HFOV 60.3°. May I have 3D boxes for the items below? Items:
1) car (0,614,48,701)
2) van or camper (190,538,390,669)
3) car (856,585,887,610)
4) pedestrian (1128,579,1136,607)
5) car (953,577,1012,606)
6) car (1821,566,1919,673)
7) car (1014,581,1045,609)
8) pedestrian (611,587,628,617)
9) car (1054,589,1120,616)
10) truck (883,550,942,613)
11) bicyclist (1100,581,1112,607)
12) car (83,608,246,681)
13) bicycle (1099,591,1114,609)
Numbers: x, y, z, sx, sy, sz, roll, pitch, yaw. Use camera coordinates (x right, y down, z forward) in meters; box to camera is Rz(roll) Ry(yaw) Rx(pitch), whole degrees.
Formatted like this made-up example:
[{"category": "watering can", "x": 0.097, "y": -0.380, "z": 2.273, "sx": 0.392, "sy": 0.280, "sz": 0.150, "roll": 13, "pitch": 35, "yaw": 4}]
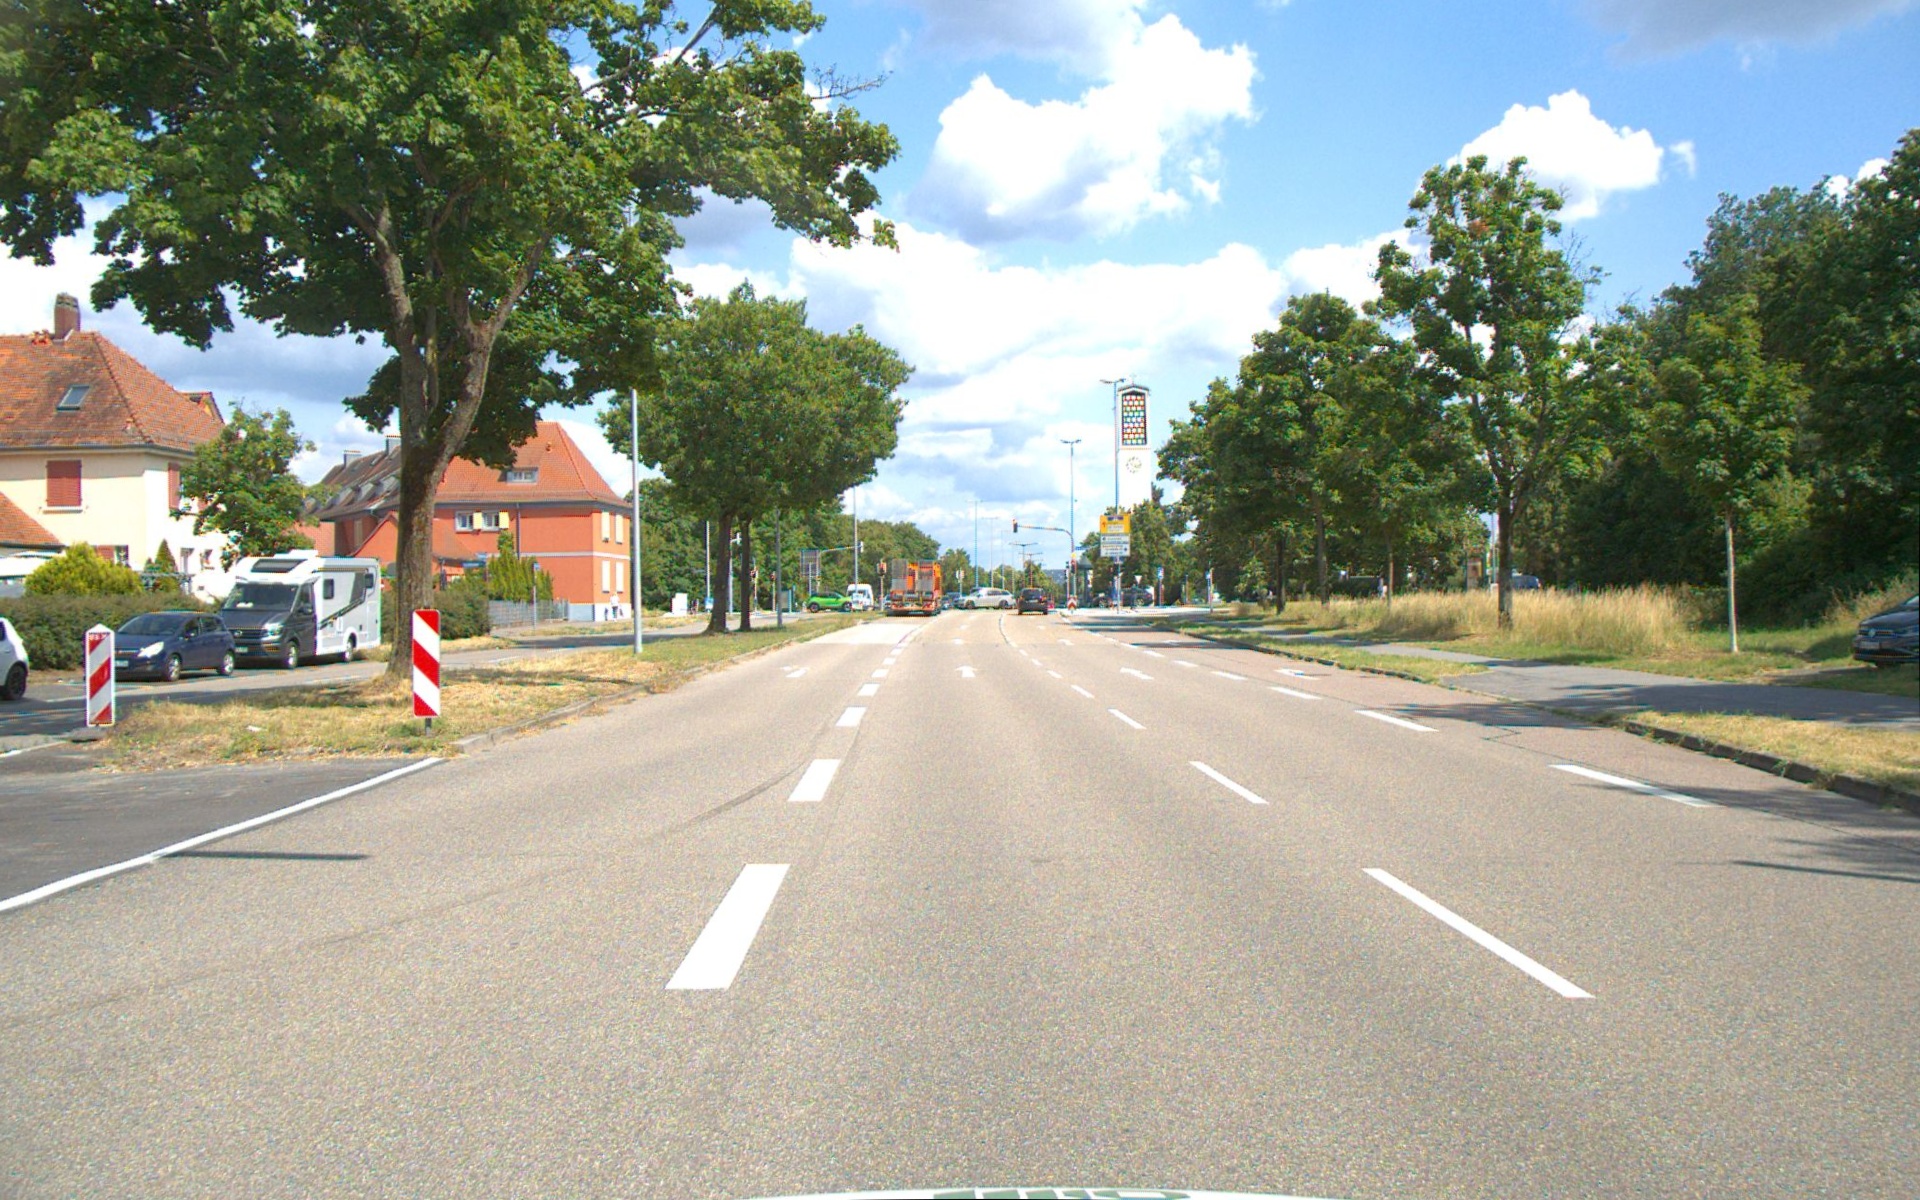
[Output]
[{"category": "car", "x": -17.827, "y": 1.005, "z": 28.680, "sx": 1.654, "sy": 1.511, "sz": 4.124, "roll": 1, "pitch": -1, "yaw": 1}, {"category": "van or camper", "x": -17.727, "y": 0.040, "z": 44.300, "sx": 2.212, "sy": 3.166, "sz": 7.321, "roll": 1, "pitch": 1, "yaw": 1}, {"category": "car", "x": -5.954, "y": -0.139, "z": 111.411, "sx": 1.697, "sy": 1.534, "sz": 4.653, "roll": -4, "pitch": -1, "yaw": 1}, {"category": "pedestrian", "x": 11.482, "y": -0.465, "z": 110.134, "sx": 0.454, "sy": 1.810, "sz": 0.482, "roll": 1, "pitch": -1, "yaw": 12}, {"category": "car", "x": 1.640, "y": -0.605, "z": 122.005, "sx": 3.929, "sy": 2.049, "sz": 1.988, "roll": 2, "pitch": -1, "yaw": -21}, {"category": "car", "x": 16.319, "y": 0.208, "z": 26.580, "sx": 4.084, "sy": 1.519, "sz": 1.782, "roll": -4, "pitch": 2, "yaw": -7}, {"category": "car", "x": 4.181, "y": -0.303, "z": 99.754, "sx": 1.762, "sy": 1.579, "sz": 4.000, "roll": 1, "pitch": -1, "yaw": 1}, {"category": "pedestrian", "x": -18.689, "y": 0.132, "z": 90.778, "sx": 0.681, "sy": 1.611, "sz": 0.851, "roll": 1, "pitch": -1, "yaw": 1}, {"category": "car", "x": 7.296, "y": 0.136, "z": 95.043, "sx": 3.516, "sy": 1.467, "sz": 1.469, "roll": 1, "pitch": -1, "yaw": -17}, {"category": "truck", "x": -2.755, "y": -0.981, "z": 99.231, "sx": 3.007, "sy": 3.474, "sz": 11.069, "roll": 1, "pitch": -1, "yaw": 1}, {"category": "bicyclist", "x": 9.886, "y": -0.414, "z": 111.822, "sx": 0.634, "sy": 1.690, "sz": 0.650, "roll": 1, "pitch": -1, "yaw": 17}, {"category": "car", "x": -17.690, "y": 0.957, "z": 36.979, "sx": 1.602, "sy": 1.511, "sz": 3.993, "roll": 1, "pitch": -1, "yaw": 1}, {"category": "bicycle", "x": 9.931, "y": 0.008, "z": 112.004, "sx": 0.634, "sy": 1.127, "sz": 1.929, "roll": 1, "pitch": -1, "yaw": 17}]
